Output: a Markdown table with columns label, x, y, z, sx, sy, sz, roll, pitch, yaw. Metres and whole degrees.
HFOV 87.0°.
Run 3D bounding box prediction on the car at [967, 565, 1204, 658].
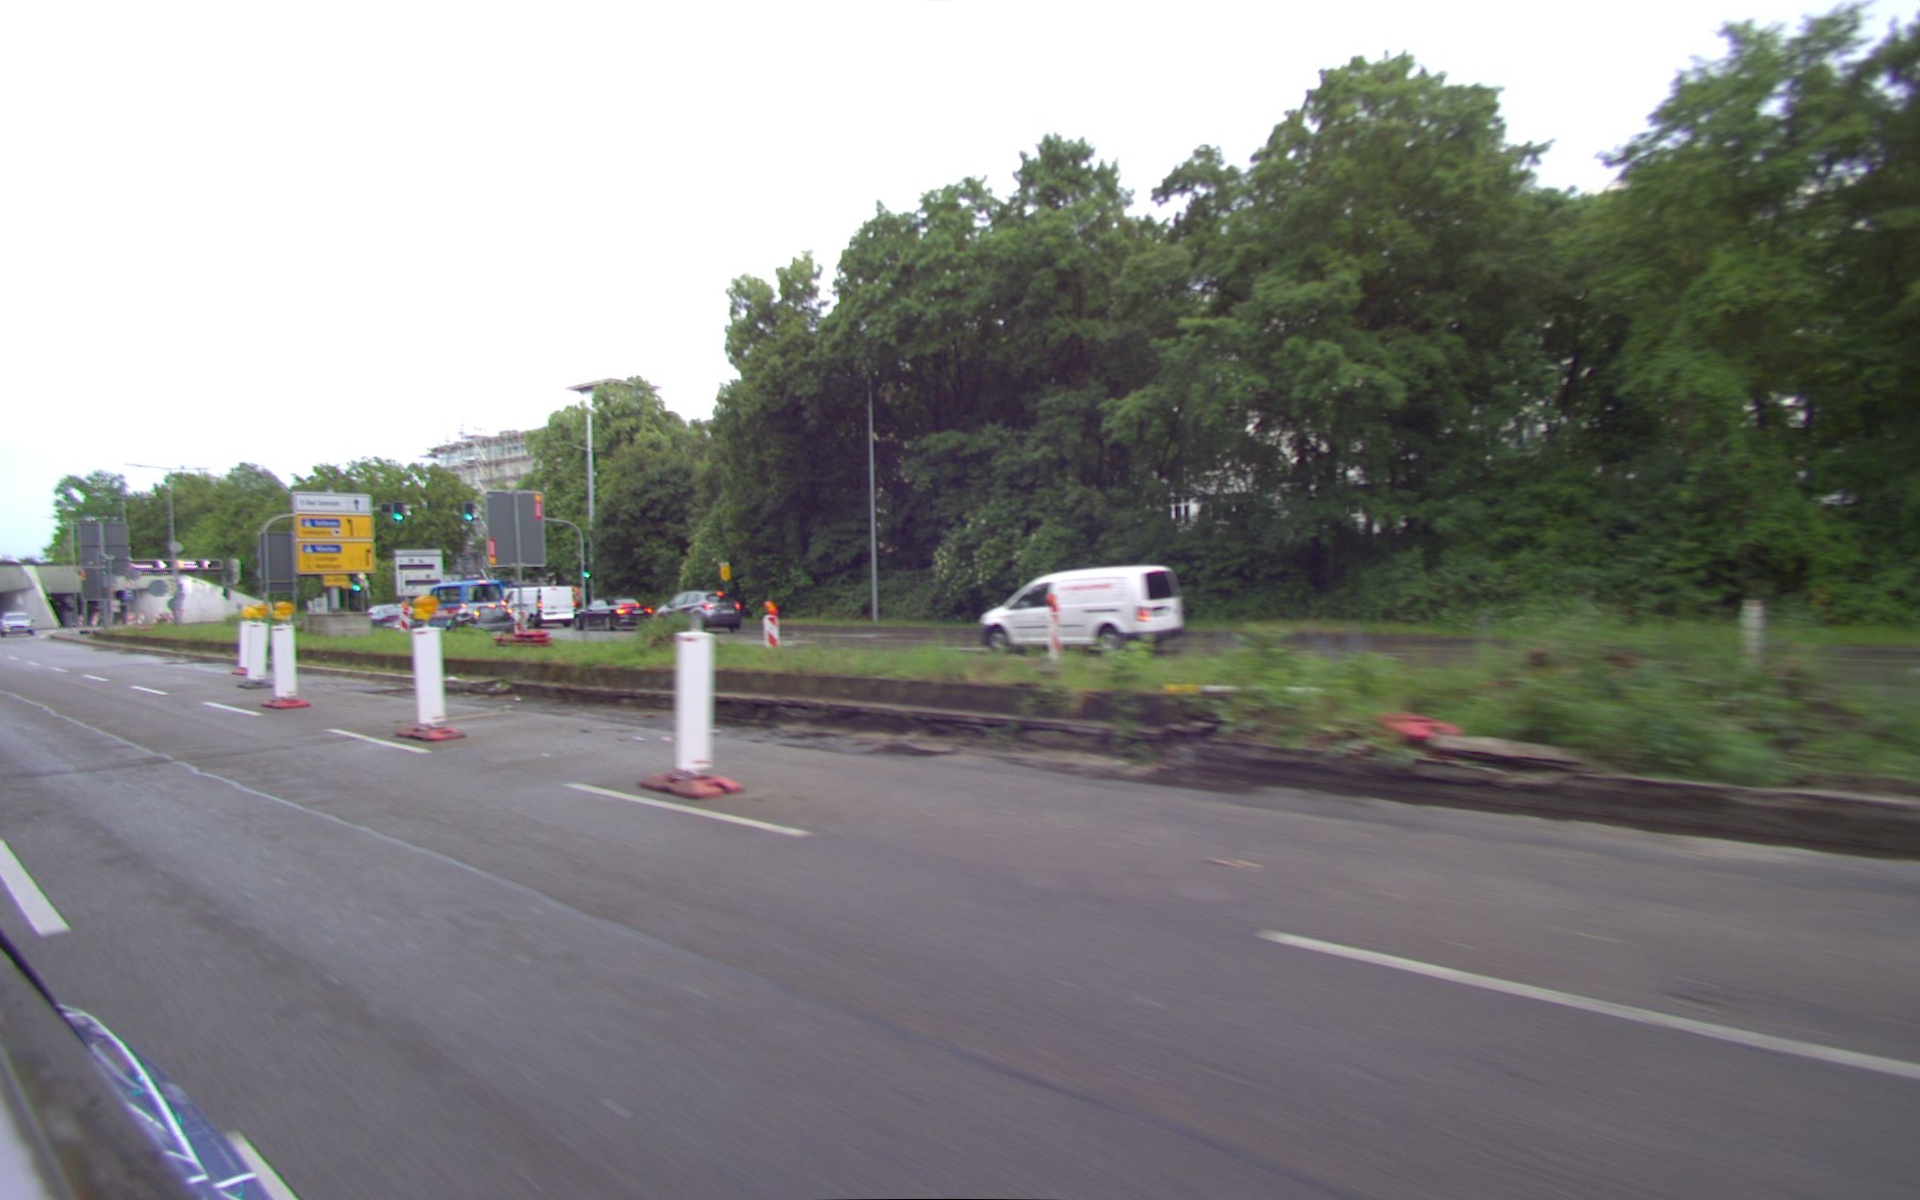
| label | x | y | z | sx | sy | sz | roll | pitch | yaw |
| --- | --- | --- | --- | --- | --- | --- | --- | --- | --- |
| car | 2.640 | 0.258 | 22.029 | 4.830 | 1.794 | 1.895 | -2 | 0 | 40 |

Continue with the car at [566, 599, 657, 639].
| label | x | y | z | sx | sy | sz | roll | pitch | yaw |
| --- | --- | --- | --- | --- | --- | --- | --- | --- | --- |
| car | -14.954 | 0.780 | 43.253 | 4.636 | 1.535 | 1.773 | -1 | 2 | 45 |

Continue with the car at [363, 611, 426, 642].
| label | x | y | z | sx | sy | sz | roll | pitch | yaw |
| --- | --- | --- | --- | --- | --- | --- | --- | --- | --- |
| car | -25.083 | 1.124 | 44.833 | 1.530 | 1.209 | 4.654 | -3 | 2 | -40 |

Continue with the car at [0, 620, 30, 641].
| label | x | y | z | sx | sy | sz | roll | pitch | yaw |
| --- | --- | --- | --- | --- | --- | --- | --- | --- | --- |
| car | -65.290 | 2.070 | 69.539 | 3.824 | 1.317 | 1.676 | -1 | 1 | 42 |

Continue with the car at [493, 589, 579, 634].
| label | x | y | z | sx | sy | sz | roll | pitch | yaw |
| --- | --- | --- | --- | --- | --- | --- | --- | --- | --- |
| car | -20.727 | 0.577 | 49.348 | 4.991 | 1.989 | 2.012 | -2 | 1 | 44 |

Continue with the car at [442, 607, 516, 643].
| label | x | y | z | sx | sy | sz | roll | pitch | yaw |
| --- | --- | --- | --- | --- | --- | --- | --- | --- | --- |
| car | -17.953 | 0.907 | 37.723 | 3.301 | 1.209 | 1.413 | -1 | 2 | 45 |

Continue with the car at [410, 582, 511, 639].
| label | x | y | z | sx | sy | sz | roll | pitch | yaw |
| --- | --- | --- | --- | --- | --- | --- | --- | --- | --- |
| car | -23.546 | 0.541 | 47.568 | 6.245 | 2.408 | 2.171 | -2 | 1 | 44 |

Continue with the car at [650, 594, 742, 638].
| label | x | y | z | sx | sy | sz | roll | pitch | yaw |
| --- | --- | --- | --- | --- | --- | --- | --- | --- | --- |
| car | -10.011 | 0.590 | 38.251 | 3.791 | 1.535 | 1.652 | -1 | 2 | 45 |
